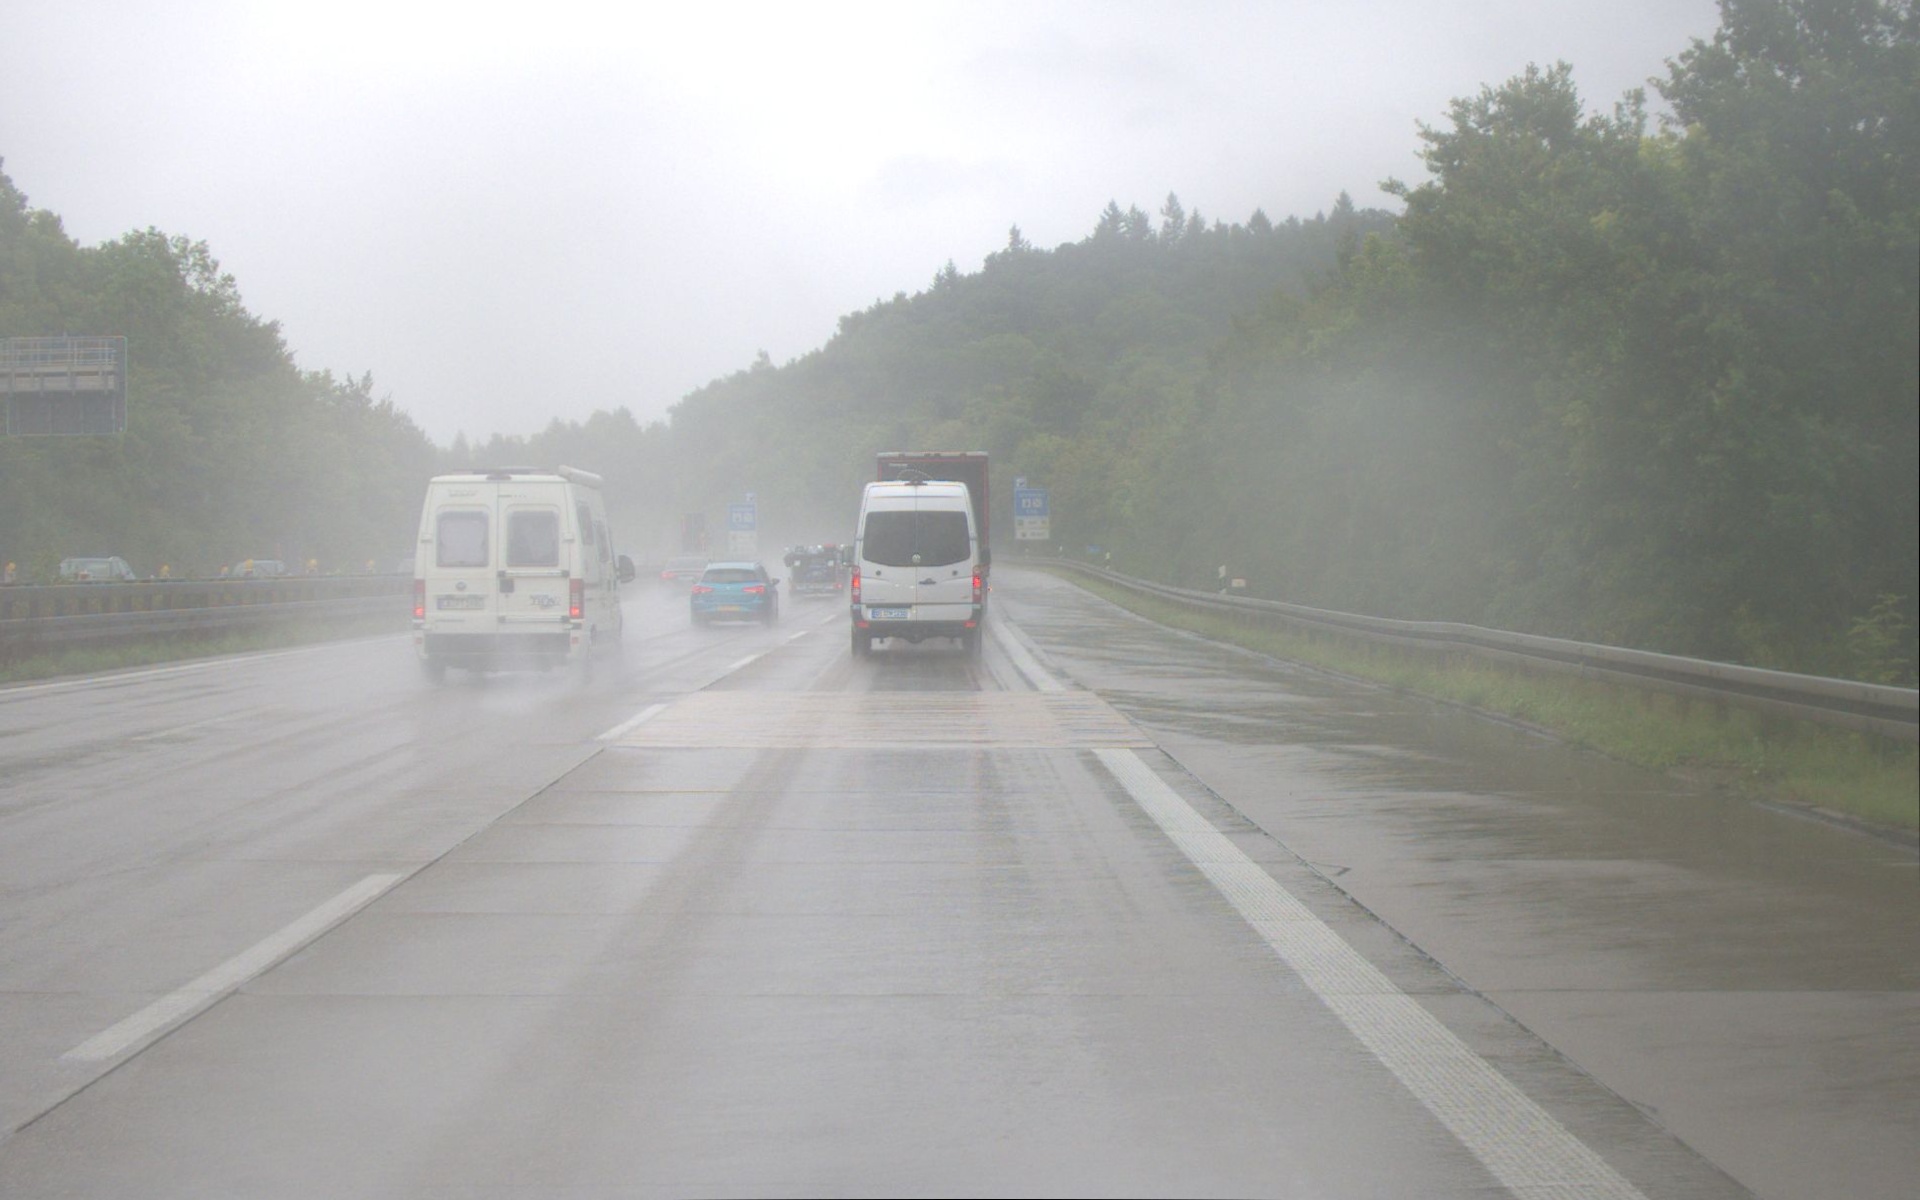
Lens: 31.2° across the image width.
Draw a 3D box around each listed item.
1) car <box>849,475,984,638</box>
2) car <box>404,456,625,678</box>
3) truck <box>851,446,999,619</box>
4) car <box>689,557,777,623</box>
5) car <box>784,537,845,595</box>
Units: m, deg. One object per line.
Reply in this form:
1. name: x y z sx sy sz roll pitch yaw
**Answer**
1. car: -0.716 -0.678 52.989 1.899 2.326 5.251 2 1 -2
2. car: -5.262 -0.415 41.343 1.997 2.423 5.791 2 1 -2
3. truck: -0.869 -1.746 83.358 3.385 3.954 8.668 0 3 -1
4. car: -5.007 -0.251 75.851 1.856 1.334 4.352 2 1 -4
5. car: -4.735 -1.110 112.108 1.868 1.804 4.189 2 1 -2
